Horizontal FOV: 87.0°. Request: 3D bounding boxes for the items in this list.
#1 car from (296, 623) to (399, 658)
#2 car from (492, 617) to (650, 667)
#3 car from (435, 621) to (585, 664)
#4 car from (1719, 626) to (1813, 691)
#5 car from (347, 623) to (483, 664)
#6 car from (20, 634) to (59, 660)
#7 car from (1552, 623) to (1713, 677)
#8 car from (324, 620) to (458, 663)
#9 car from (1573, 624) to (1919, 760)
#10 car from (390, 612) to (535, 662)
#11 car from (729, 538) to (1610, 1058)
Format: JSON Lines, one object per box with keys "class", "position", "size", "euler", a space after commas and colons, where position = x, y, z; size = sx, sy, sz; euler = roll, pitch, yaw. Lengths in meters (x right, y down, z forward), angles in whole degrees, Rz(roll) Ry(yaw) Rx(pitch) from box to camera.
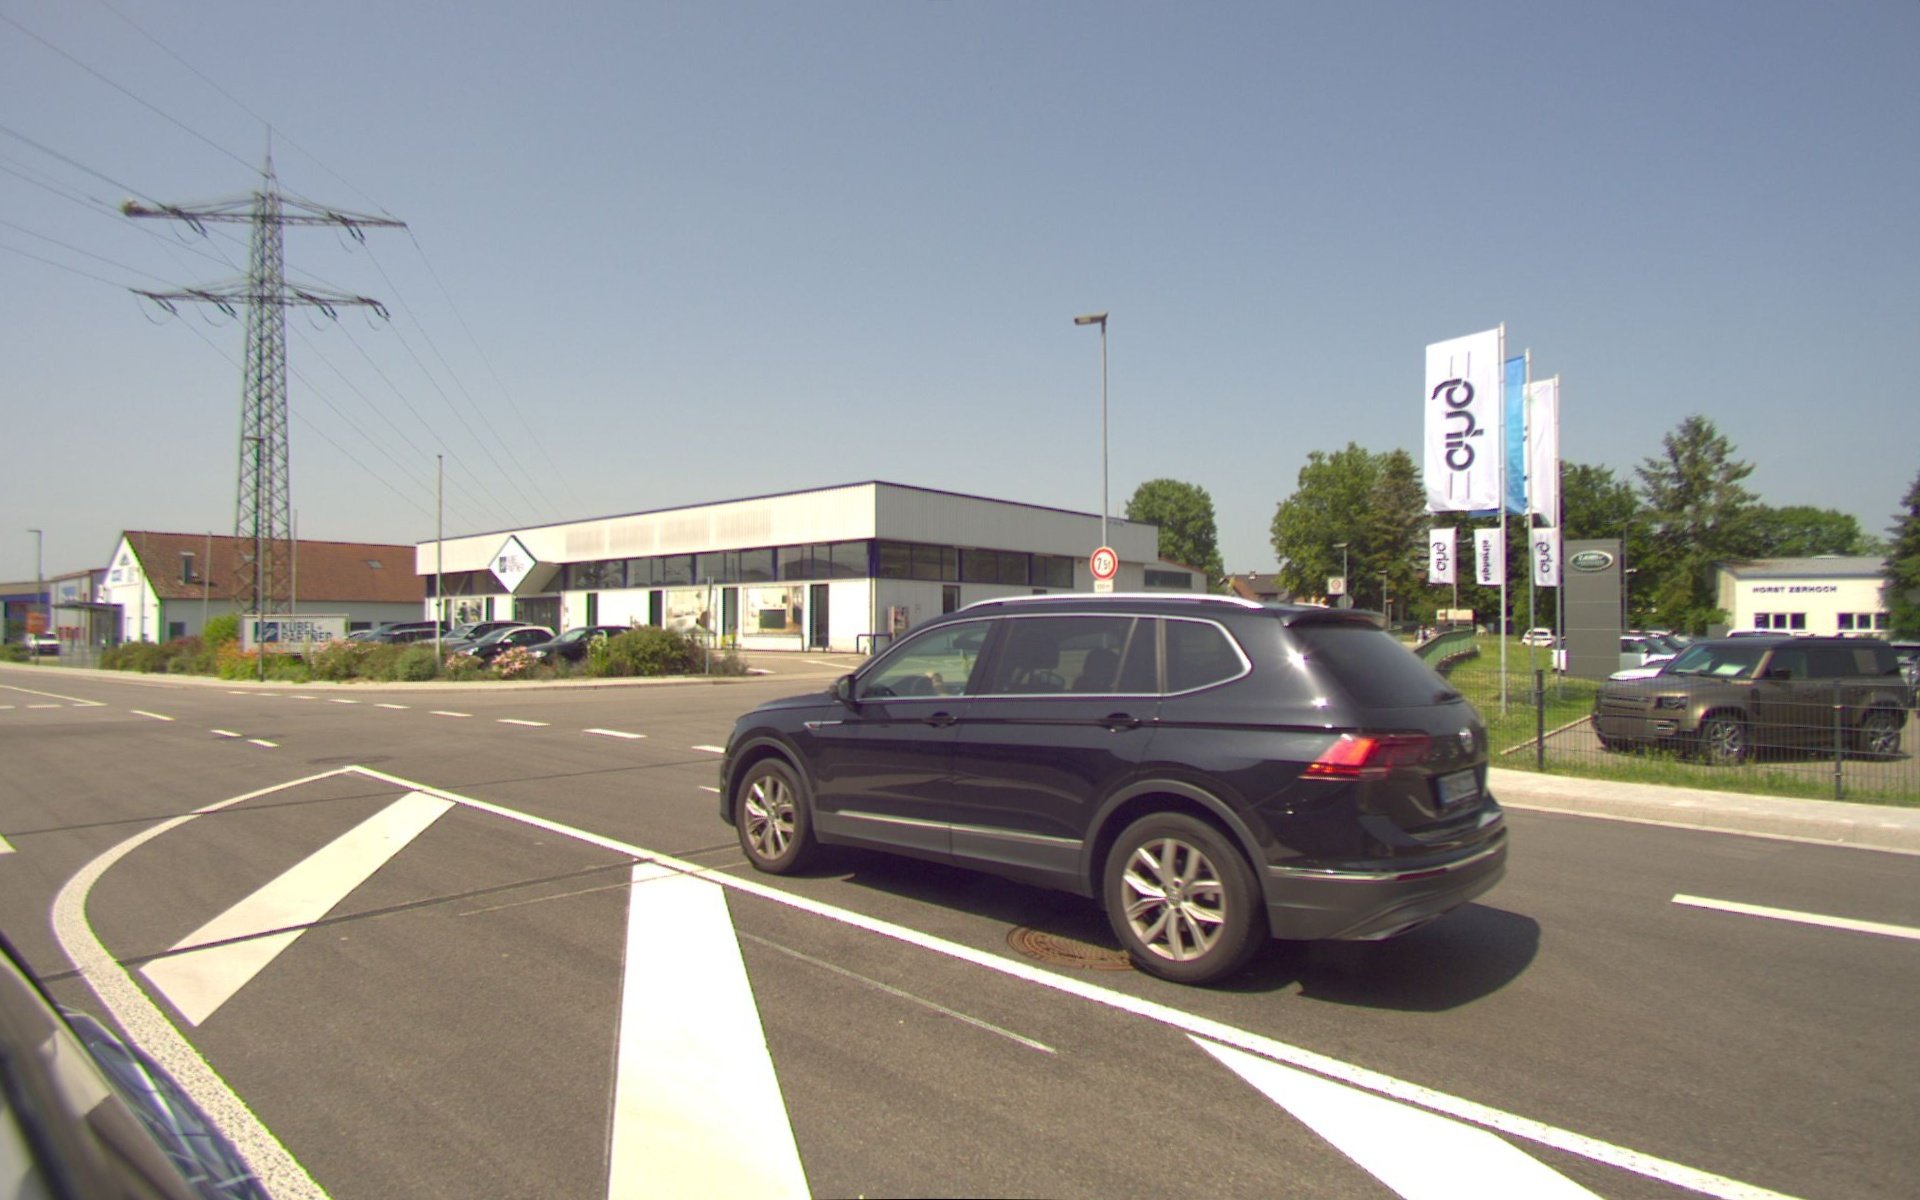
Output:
{"class": "car", "position": [-26.346, 1.716, 43.585], "size": [1.503, 1.263, 3.475], "euler": [-2, 0, 39]}
{"class": "car", "position": [-11.783, 1.285, 30.912], "size": [1.831, 1.405, 4.184], "euler": [-2, -3, 37]}
{"class": "car", "position": [-14.839, 1.419, 33.545], "size": [1.831, 1.325, 4.184], "euler": [-2, -3, 37]}
{"class": "car", "position": [23.427, 1.641, 29.448], "size": [1.965, 1.747, 4.261], "euler": [-2, -3, 39]}
{"class": "car", "position": [-20.013, 1.595, 37.286], "size": [1.994, 1.425, 3.954], "euler": [-2, -3, 33]}
{"class": "car", "position": [-77.278, 3.930, 84.954], "size": [4.679, 2.029, 1.972], "euler": [-1, -3, 42]}
{"class": "car", "position": [23.369, 1.717, 35.273], "size": [1.938, 1.747, 4.322], "euler": [1, -3, -43]}
{"class": "car", "position": [-22.094, 1.616, 39.435], "size": [1.831, 1.608, 4.184], "euler": [-2, -3, 37]}
{"class": "car", "position": [12.396, 1.343, 15.834], "size": [4.602, 1.879, 2.071], "euler": [0, 0, -12]}
{"class": "car", "position": [-17.321, 1.309, 35.421], "size": [1.831, 1.660, 4.184], "euler": [-2, -3, 37]}
{"class": "car", "position": [0.804, 0.703, 5.441], "size": [4.289, 1.686, 1.857], "euler": [-1, -3, 42]}
